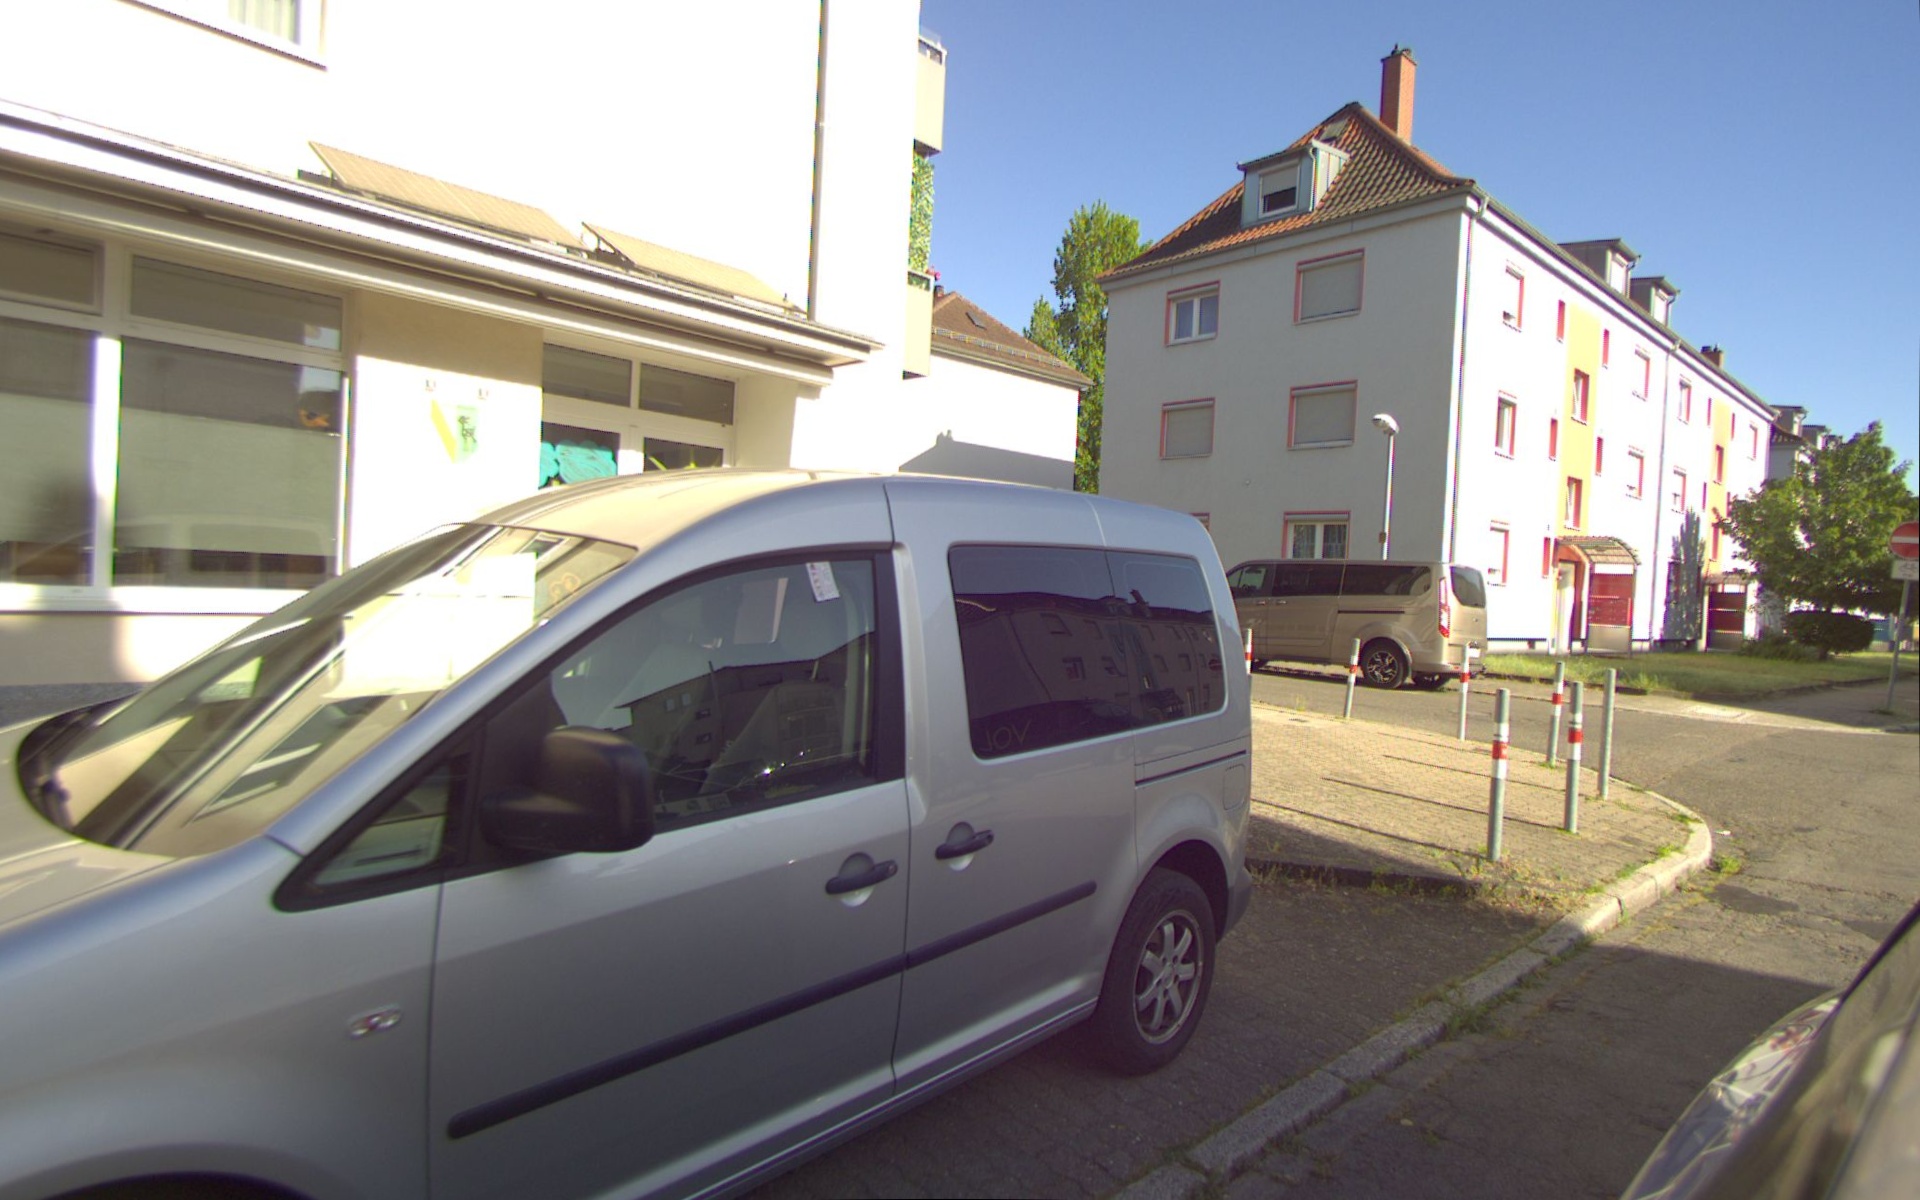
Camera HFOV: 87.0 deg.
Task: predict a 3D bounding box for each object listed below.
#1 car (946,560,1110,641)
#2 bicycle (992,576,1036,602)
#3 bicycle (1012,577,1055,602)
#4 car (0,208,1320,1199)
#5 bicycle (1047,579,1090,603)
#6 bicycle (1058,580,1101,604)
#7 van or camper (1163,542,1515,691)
[{"bbox_3d":[1.458,-0.019,22.643,1.651,1.548,3.481,2,2,-41],"label":"car"},{"bbox_3d":[2.010,-0.427,37.777,0.497,0.790,1.831,2,4,-38],"label":"bicycle"},{"bbox_3d":[2.801,-0.413,38.716,0.497,0.790,1.831,2,4,-38],"label":"bicycle"},{"bbox_3d":[-0.835,0.403,2.765,1.749,1.845,4.065,8,5,44],"label":"car"},{"bbox_3d":[4.235,-0.347,39.645,0.497,0.790,1.831,2,4,-38],"label":"bicycle"},{"bbox_3d":[4.723,-0.329,40.050,0.497,0.790,1.831,2,4,-38],"label":"bicycle"},{"bbox_3d":[6.194,0.176,17.065,1.966,2.038,5.130,4,0,-44],"label":"van or camper"}]
